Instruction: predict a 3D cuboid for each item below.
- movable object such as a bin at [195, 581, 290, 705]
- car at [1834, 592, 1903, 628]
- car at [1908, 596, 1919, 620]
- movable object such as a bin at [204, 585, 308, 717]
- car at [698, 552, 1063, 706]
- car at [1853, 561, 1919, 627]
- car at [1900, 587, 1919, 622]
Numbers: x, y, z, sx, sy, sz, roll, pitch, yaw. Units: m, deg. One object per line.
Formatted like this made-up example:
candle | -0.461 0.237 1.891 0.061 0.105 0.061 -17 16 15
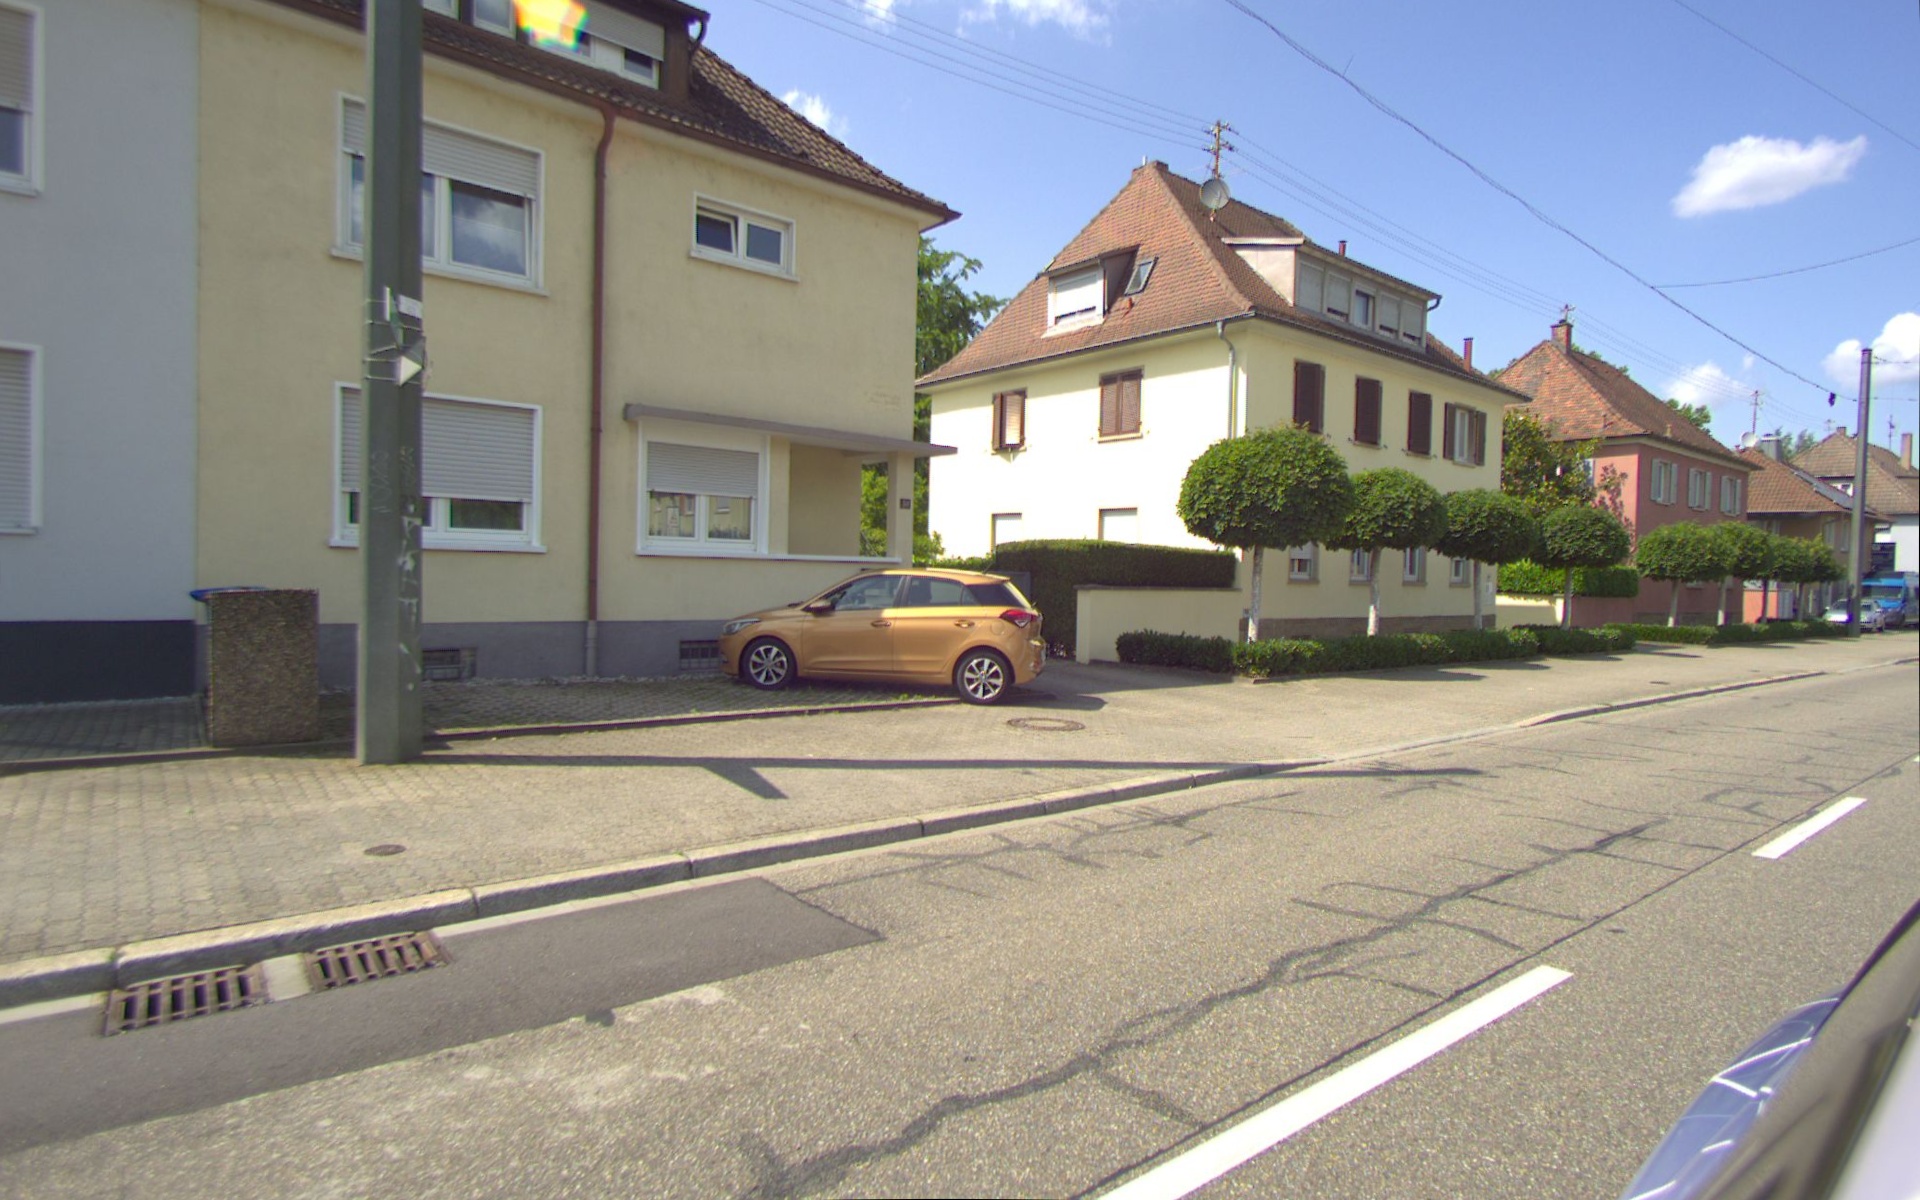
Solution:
movable object such as a bin | -6.547 0.368 9.231 0.648 1.069 0.646 0 1 -41
car | 39.798 0.408 44.305 4.273 1.426 1.653 -1 3 -40
car | 57.709 0.515 58.753 1.695 1.397 3.660 -1 2 -37
movable object such as a bin | -6.066 0.412 8.716 0.673 1.060 0.639 0 1 -41
car | -0.852 0.284 12.258 4.027 1.476 1.911 3 1 10
car | 45.119 -0.315 48.514 6.126 2.967 2.158 0 1 -36
car | 50.177 0.284 51.969 4.773 1.732 1.843 1 3 -37
